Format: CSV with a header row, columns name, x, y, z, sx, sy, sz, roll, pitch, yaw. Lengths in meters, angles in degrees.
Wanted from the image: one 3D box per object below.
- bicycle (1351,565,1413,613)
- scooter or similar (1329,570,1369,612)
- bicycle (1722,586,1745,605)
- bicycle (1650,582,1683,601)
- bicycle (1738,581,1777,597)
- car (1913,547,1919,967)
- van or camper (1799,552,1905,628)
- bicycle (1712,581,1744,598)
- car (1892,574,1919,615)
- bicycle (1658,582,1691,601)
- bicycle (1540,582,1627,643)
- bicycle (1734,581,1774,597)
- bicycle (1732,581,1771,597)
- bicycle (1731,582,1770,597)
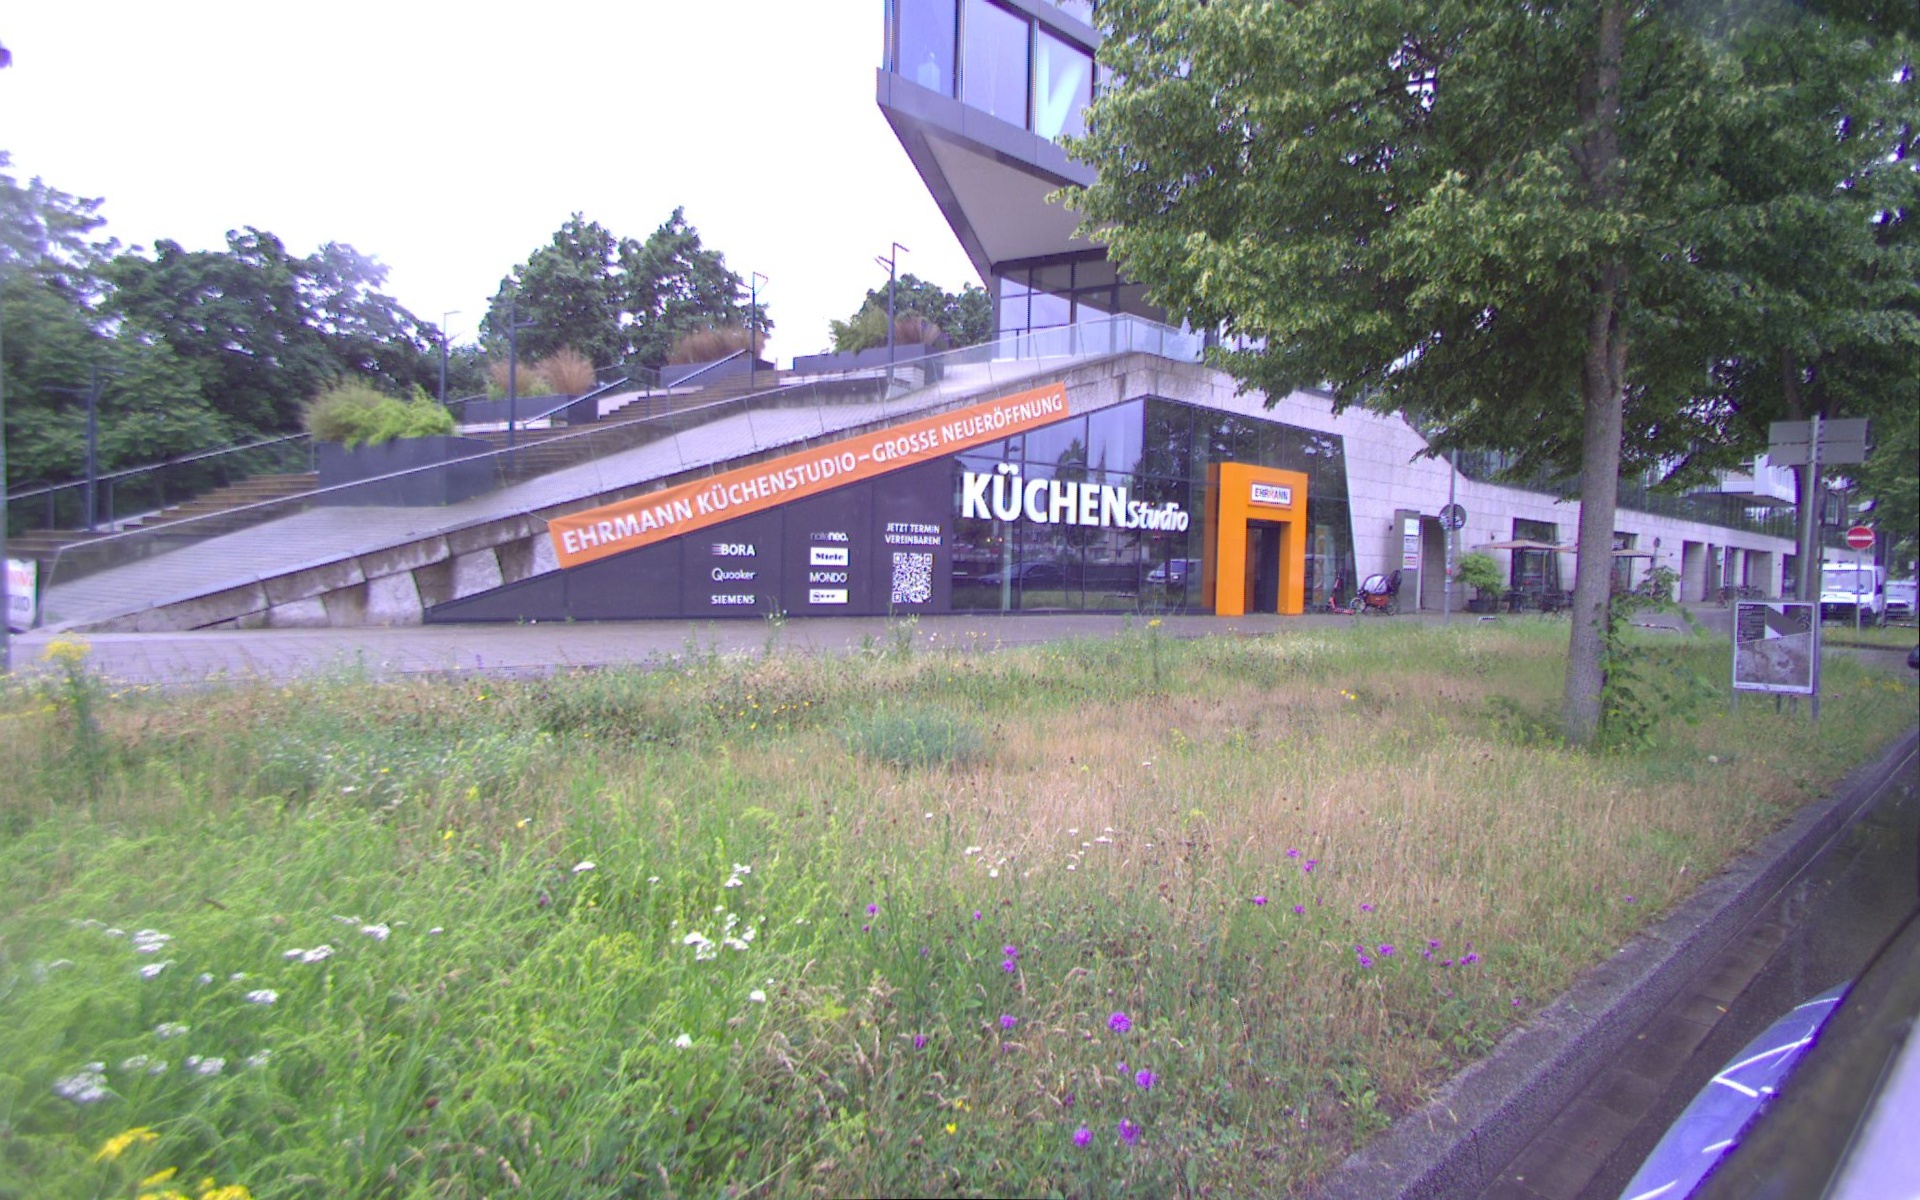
name,x,y,z,sx,sy,sz,roll,pitch,yaw
bicycle,13.243,-0.342,31.703,2.382,1.419,0.734,0,3,-41
scooter or similar,11.777,-0.265,30.651,1.214,1.243,0.343,-1,0,-22
bicycle,40.183,-0.215,52.560,1.823,0.957,0.403,-1,2,-34
bicycle,36.619,-0.456,52.464,0.388,0.958,2.028,-1,1,4
bicycle,54.787,-0.756,69.561,0.389,0.957,2.025,-1,4,-45
car,5.778,0.572,4.522,3.930,1.632,1.814,-1,1,-41
van or camper,29.638,-0.373,33.571,5.367,2.320,2.028,-1,2,-42
bicycle,49.471,-0.678,65.217,0.339,0.957,1.665,0,3,-22
car,43.577,-0.280,45.722,4.766,1.781,1.744,-1,2,-42
bicycle,37.239,-0.468,52.780,0.388,0.958,2.028,-1,1,4
bicycle,14.592,0.269,23.748,0.521,1.363,1.852,2,1,-16
bicycle,53.900,-0.747,68.710,0.389,0.957,2.025,-1,4,-45
bicycle,53.090,-0.718,67.887,0.389,0.957,2.025,-1,4,-45
bicycle,52.623,-0.707,67.377,0.389,0.957,2.025,-1,4,-45
